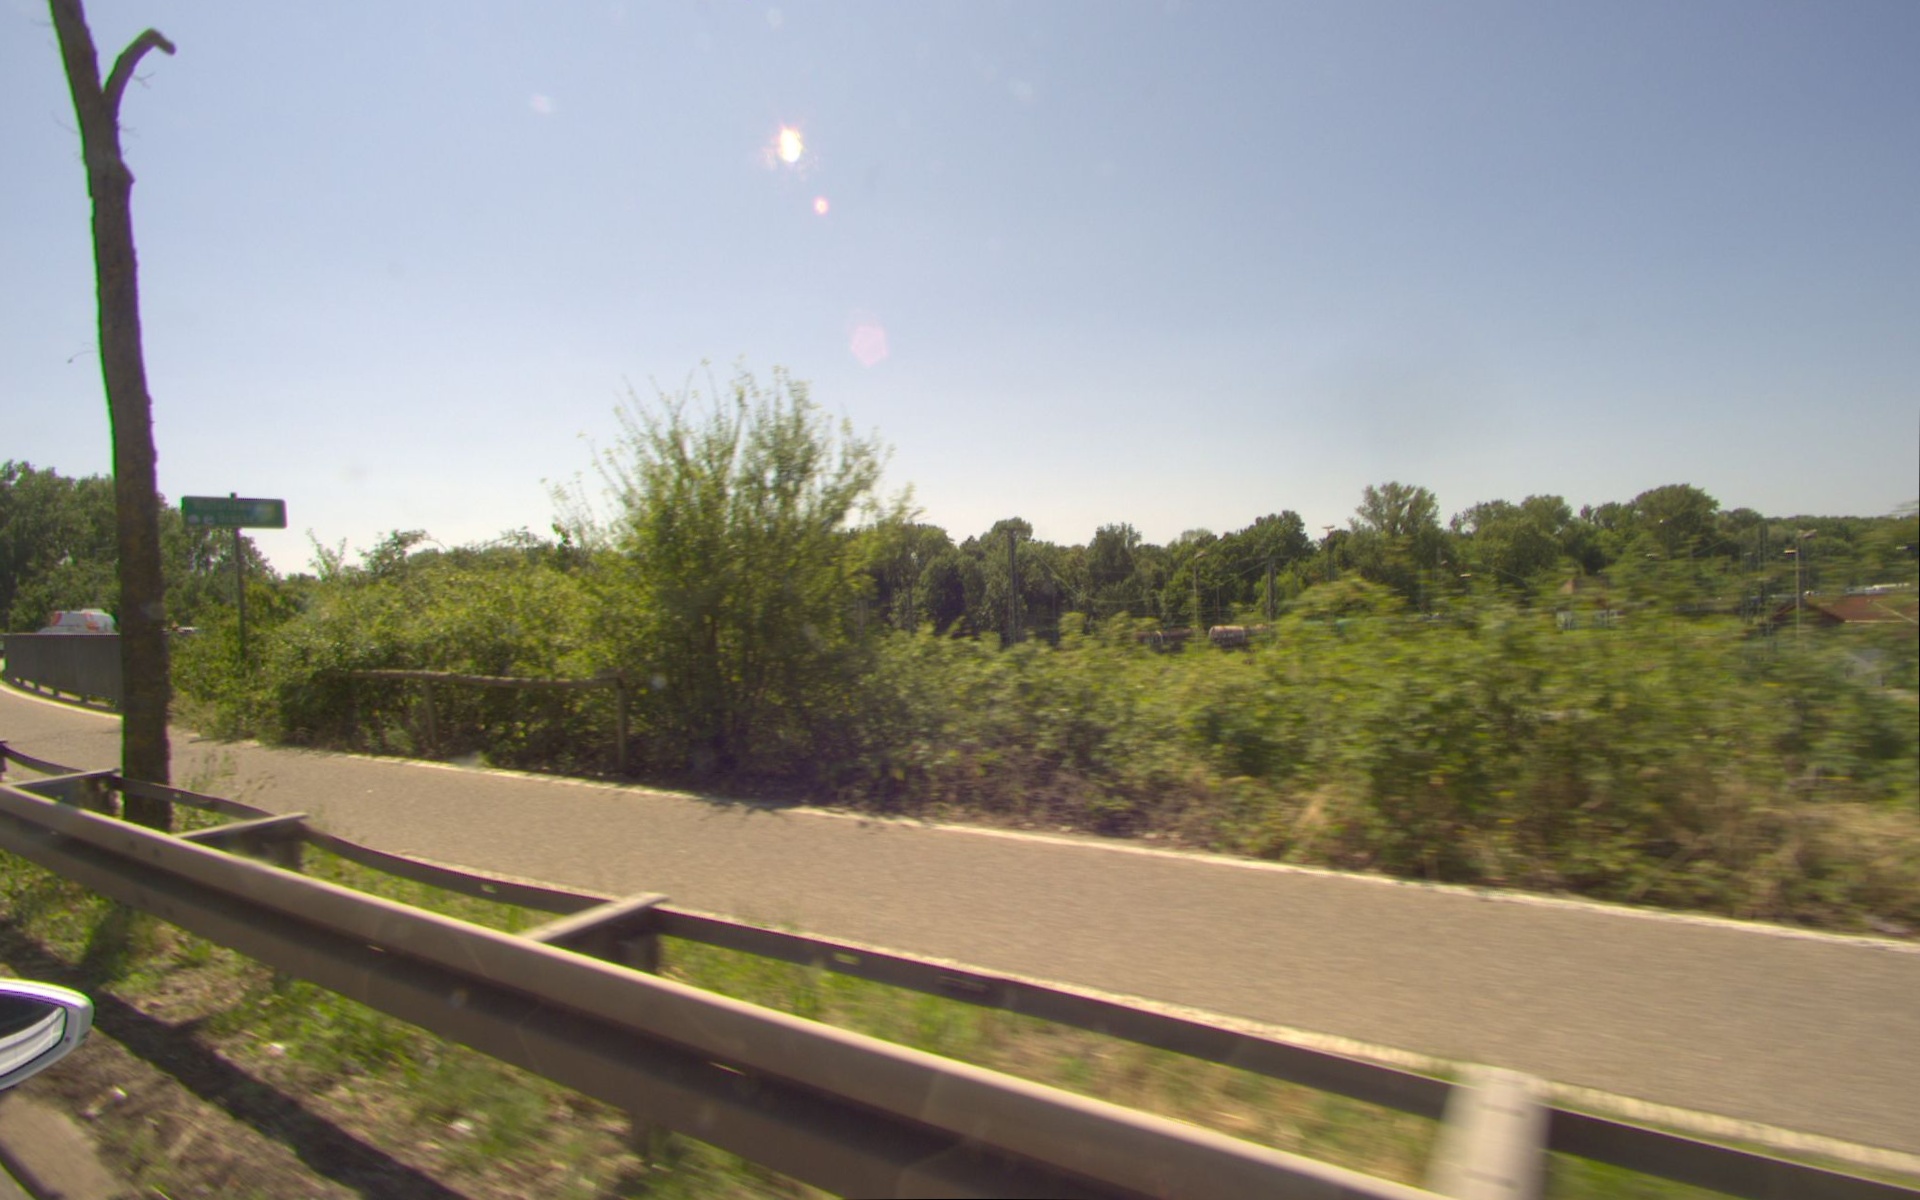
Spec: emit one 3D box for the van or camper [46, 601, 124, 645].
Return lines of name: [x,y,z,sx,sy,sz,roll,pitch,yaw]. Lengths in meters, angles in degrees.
van or camper: [-57.696,1.529,66.188,2.174,2.746,5.907,0,-1,-23]
